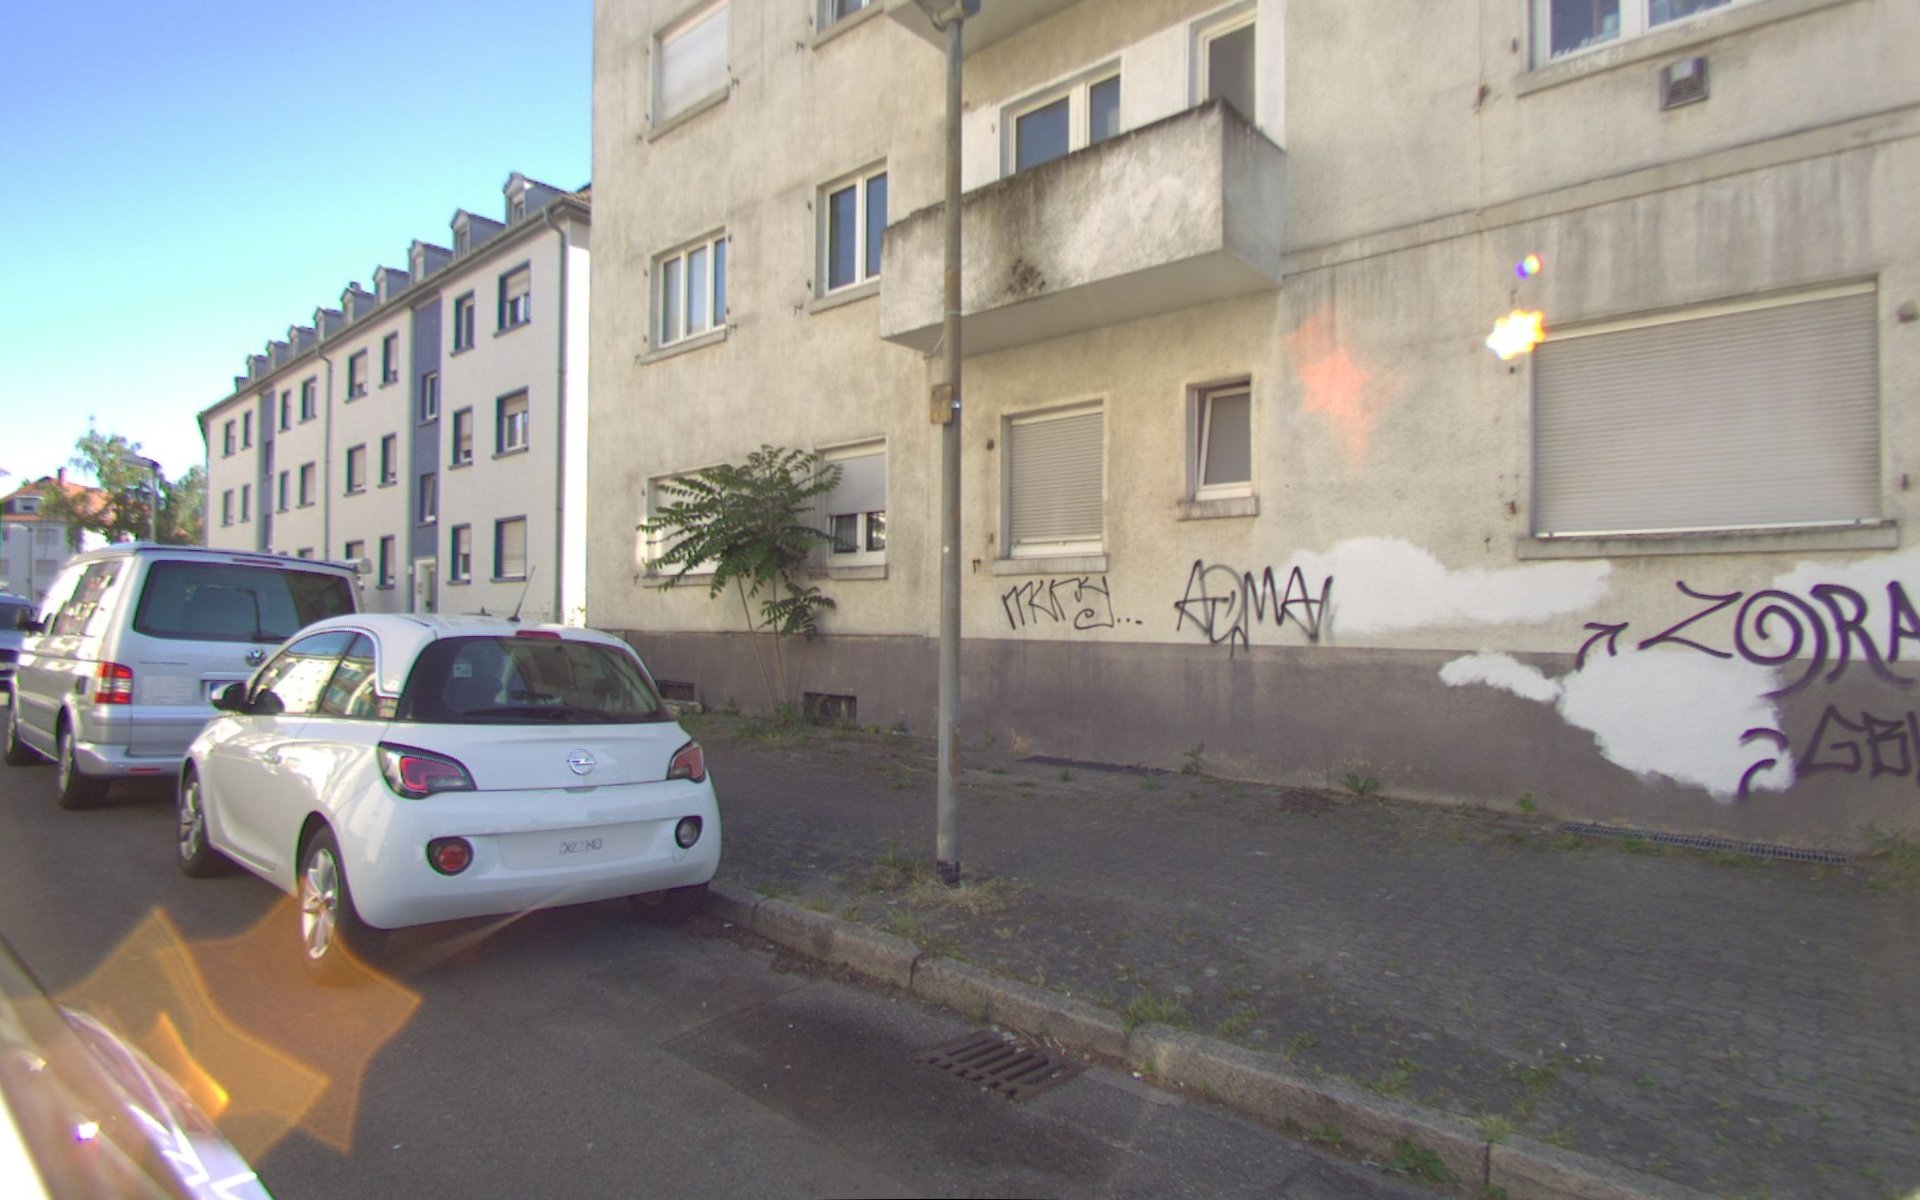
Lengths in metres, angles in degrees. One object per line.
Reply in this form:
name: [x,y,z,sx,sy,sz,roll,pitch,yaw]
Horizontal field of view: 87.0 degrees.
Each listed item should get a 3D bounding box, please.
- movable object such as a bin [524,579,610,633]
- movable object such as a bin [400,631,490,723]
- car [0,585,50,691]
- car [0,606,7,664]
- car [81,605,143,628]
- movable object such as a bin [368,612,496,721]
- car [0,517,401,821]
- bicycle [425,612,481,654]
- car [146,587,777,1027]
movable object such as a bin: [-7.569,0.133,19.516,1.203,1.007,1.117,-1,-2,41]
movable object such as a bin: [-6.531,0.955,12.829,0.816,1.087,0.765,0,-1,41]
car: [-18.769,0.646,19.063,4.947,1.844,1.781,0,-4,42]
car: [-23.150,0.864,22.986,4.162,1.603,1.656,0,-5,41]
car: [-62.015,1.223,74.072,1.551,1.436,3.986,3,-3,-9]
movable object such as a bin: [-7.157,0.858,13.741,1.044,1.387,1.242,0,-1,41]
car: [-6.914,0.501,8.826,4.853,1.948,1.930,0,-3,41]
bicycle: [-12.565,0.809,25.061,2.074,0.969,0.494,0,2,42]
car: [-2.792,0.742,5.287,3.721,1.470,1.668,0,-3,42]
